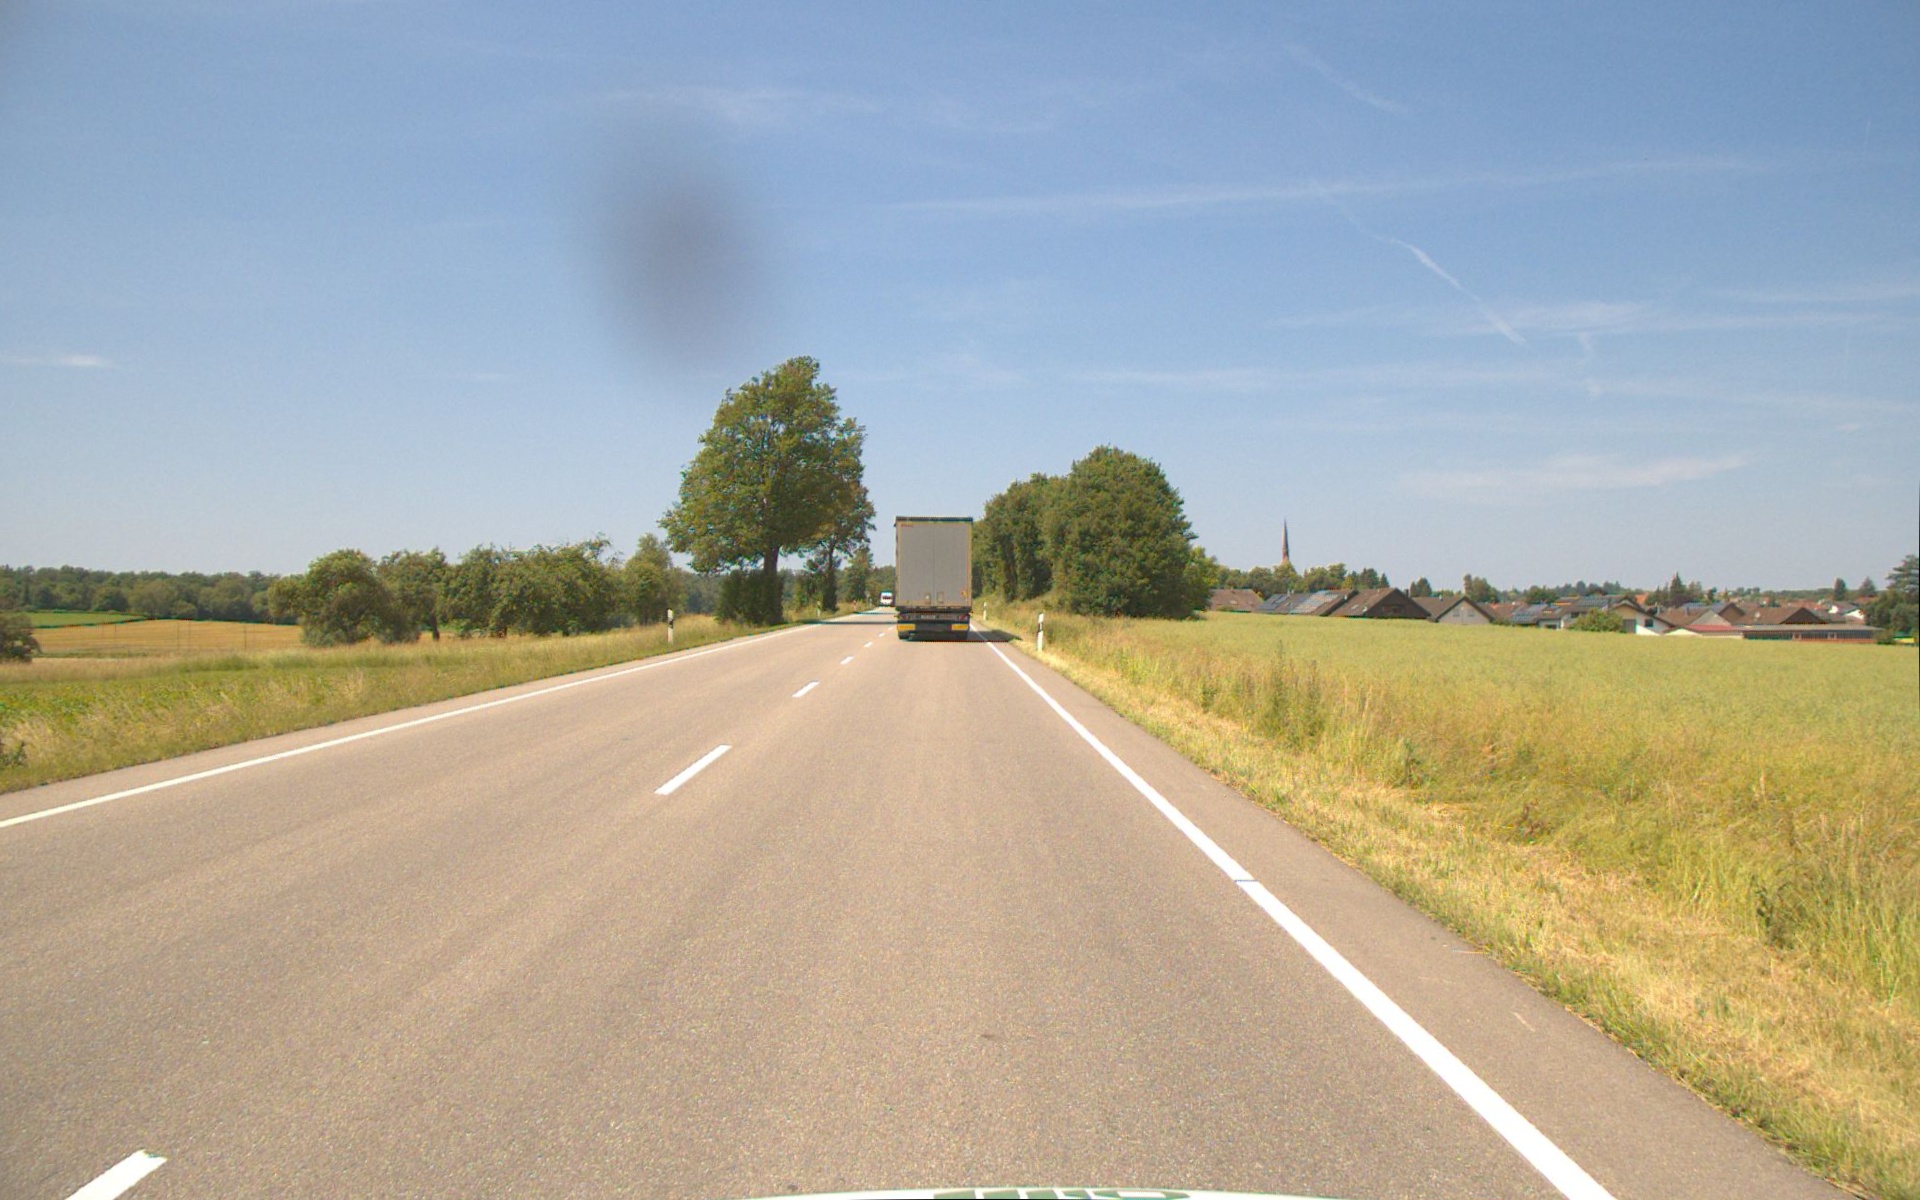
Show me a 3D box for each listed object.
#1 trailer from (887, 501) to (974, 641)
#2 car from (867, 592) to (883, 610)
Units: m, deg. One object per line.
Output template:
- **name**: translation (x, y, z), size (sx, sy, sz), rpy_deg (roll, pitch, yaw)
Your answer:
- **trailer**: translation (-1.104, -0.952, 60.026), size (2.809, 4.477, 13.489), rpy_deg (0, 0, -1)
- **car**: translation (-10.162, 0.107, 197.164), size (1.836, 2.049, 4.072), rpy_deg (1, 0, -2)
